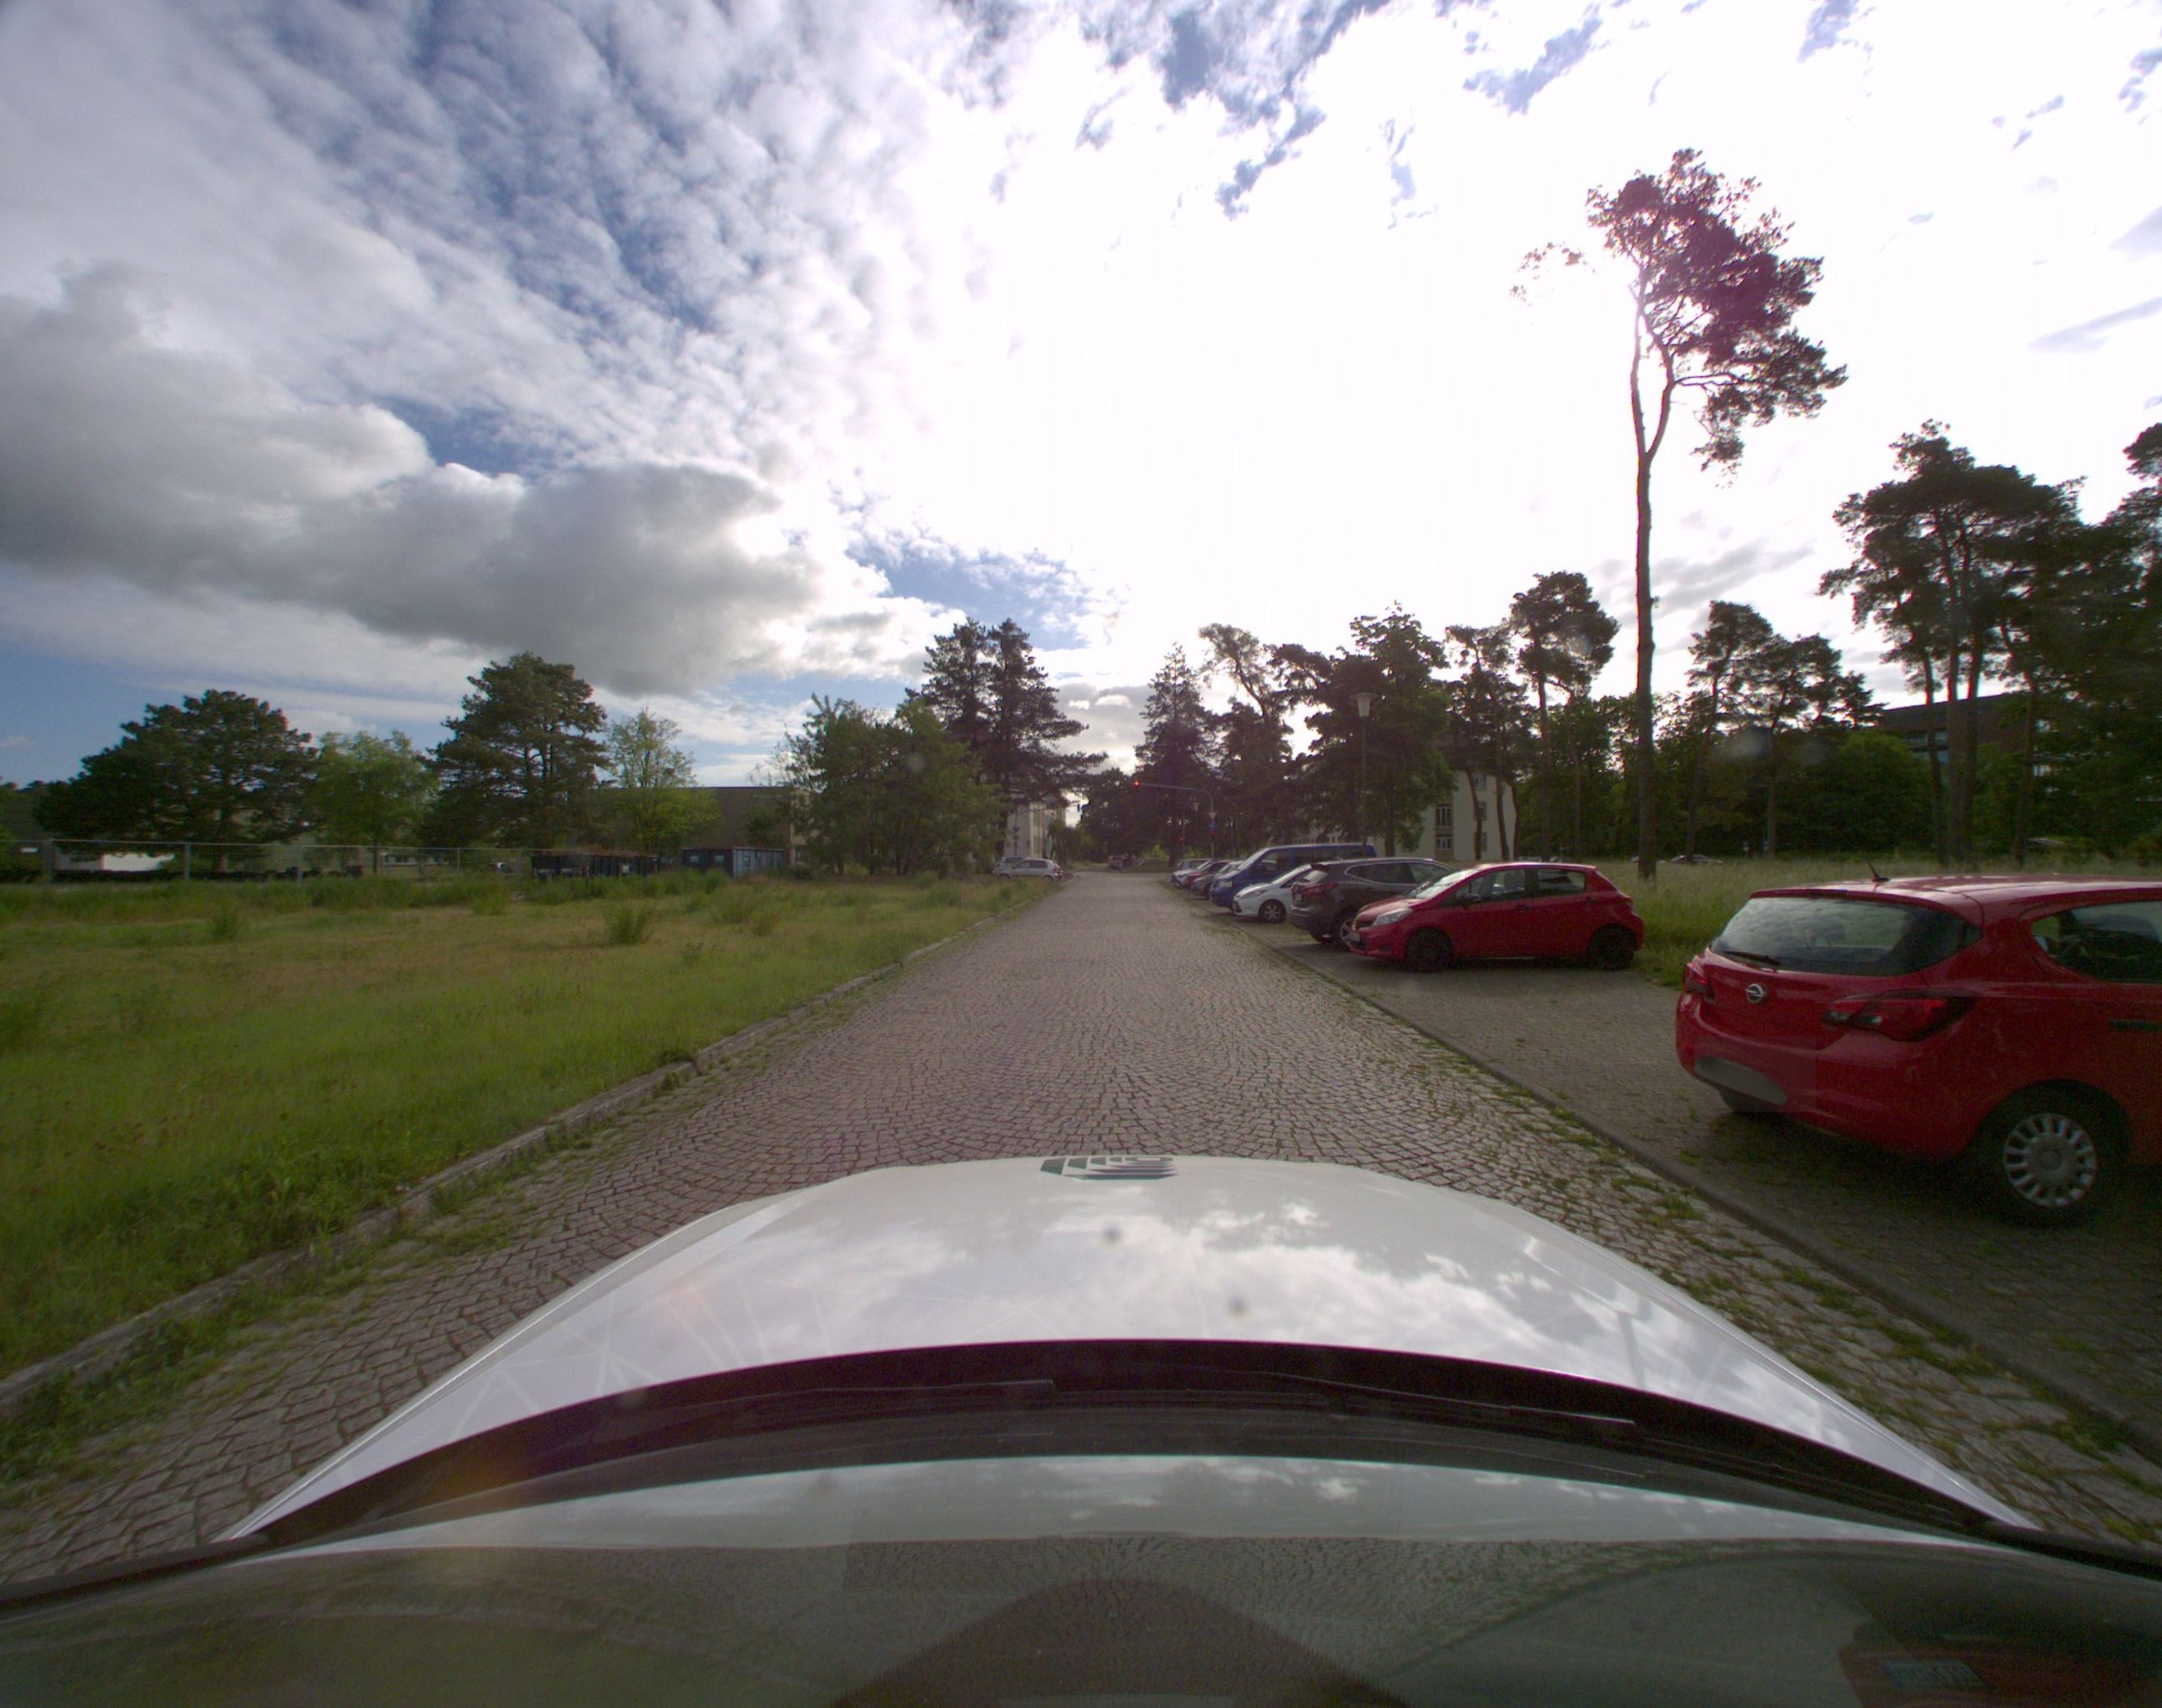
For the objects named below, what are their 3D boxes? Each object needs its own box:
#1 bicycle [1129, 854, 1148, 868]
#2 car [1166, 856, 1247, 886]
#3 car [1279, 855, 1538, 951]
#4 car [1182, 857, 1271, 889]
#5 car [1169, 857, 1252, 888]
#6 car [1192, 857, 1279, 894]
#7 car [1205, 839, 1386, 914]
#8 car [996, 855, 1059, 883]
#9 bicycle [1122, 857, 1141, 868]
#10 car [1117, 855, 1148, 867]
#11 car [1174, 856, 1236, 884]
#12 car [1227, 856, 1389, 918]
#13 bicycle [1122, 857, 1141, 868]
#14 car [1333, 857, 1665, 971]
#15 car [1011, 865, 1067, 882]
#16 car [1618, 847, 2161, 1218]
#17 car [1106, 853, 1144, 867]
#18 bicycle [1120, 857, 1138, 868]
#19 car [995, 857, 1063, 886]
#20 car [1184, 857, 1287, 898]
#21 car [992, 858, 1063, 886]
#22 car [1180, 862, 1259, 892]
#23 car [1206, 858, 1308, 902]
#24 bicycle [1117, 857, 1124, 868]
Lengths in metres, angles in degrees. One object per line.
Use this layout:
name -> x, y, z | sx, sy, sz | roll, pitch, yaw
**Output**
bicycle -> 6.920, 0.823, 97.609 | 2.156, 1.616, 0.811 | 0, 0, -5
car -> 6.851, 0.926, 44.713 | 4.114, 1.543, 1.662 | 0, 0, -4
car -> 5.709, 0.828, 14.559 | 3.937, 1.580, 1.762 | 0, 0, 0
car -> 7.048, 0.908, 39.653 | 3.978, 1.543, 1.662 | 0, 0, -4
car -> 6.635, 0.937, 41.926 | 3.978, 1.543, 1.662 | 0, 0, -4
car -> 6.584, 0.879, 34.794 | 3.291, 1.504, 1.659 | 0, 0, -9
car -> 6.081, 0.630, 23.447 | 4.767, 2.040, 1.738 | 0, 0, 0
car -> -3.416, 0.943, 52.270 | 3.980, 1.750, 1.924 | 0, 0, -5
bicycle -> 5.942, 0.967, 96.338 | 2.156, 1.268, 0.811 | 0, 0, -5
car -> 6.952, 0.906, 110.869 | 3.979, 1.644, 1.997 | 0, 0, -4
car -> 7.187, 0.916, 47.275 | 3.382, 1.543, 1.389 | 0, 0, -4
car -> 5.768, 0.815, 20.996 | 3.711, 1.424, 1.654 | -2, 0, -1
bicycle -> 5.963, 0.975, 96.925 | 2.156, 1.268, 0.811 | 0, 0, -5
car -> 5.924, 0.816, 11.917 | 3.971, 1.518, 1.739 | 0, 0, 2
car -> -2.826, 1.282, 54.562 | 3.664, 1.094, 1.644 | 0, 0, -4
car -> 5.342, 0.749, 4.324 | 3.826, 1.505, 1.738 | -1, 0, 1
car -> 6.129, 0.805, 114.175 | 5.048, 2.013, 1.994 | 0, 0, -9
bicycle -> 5.778, 0.989, 98.145 | 2.156, 1.268, 0.811 | 0, 0, -5
car -> -3.137, 1.028, 49.263 | 3.979, 1.706, 1.997 | 0, 0, -4
car -> 6.004, 0.883, 31.837 | 3.596, 1.506, 1.659 | 0, 0, -9
car -> -3.074, 1.006, 46.770 | 3.979, 1.552, 1.997 | 0, 0, -4
car -> 6.334, 1.033, 37.425 | 3.285, 1.267, 1.662 | 0, 0, -4
car -> 6.207, 0.902, 28.988 | 3.281, 1.504, 1.664 | 0, 0, 0
bicycle -> 4.533, 0.997, 92.617 | 0.806, 1.268, 1.975 | 0, 0, 3
